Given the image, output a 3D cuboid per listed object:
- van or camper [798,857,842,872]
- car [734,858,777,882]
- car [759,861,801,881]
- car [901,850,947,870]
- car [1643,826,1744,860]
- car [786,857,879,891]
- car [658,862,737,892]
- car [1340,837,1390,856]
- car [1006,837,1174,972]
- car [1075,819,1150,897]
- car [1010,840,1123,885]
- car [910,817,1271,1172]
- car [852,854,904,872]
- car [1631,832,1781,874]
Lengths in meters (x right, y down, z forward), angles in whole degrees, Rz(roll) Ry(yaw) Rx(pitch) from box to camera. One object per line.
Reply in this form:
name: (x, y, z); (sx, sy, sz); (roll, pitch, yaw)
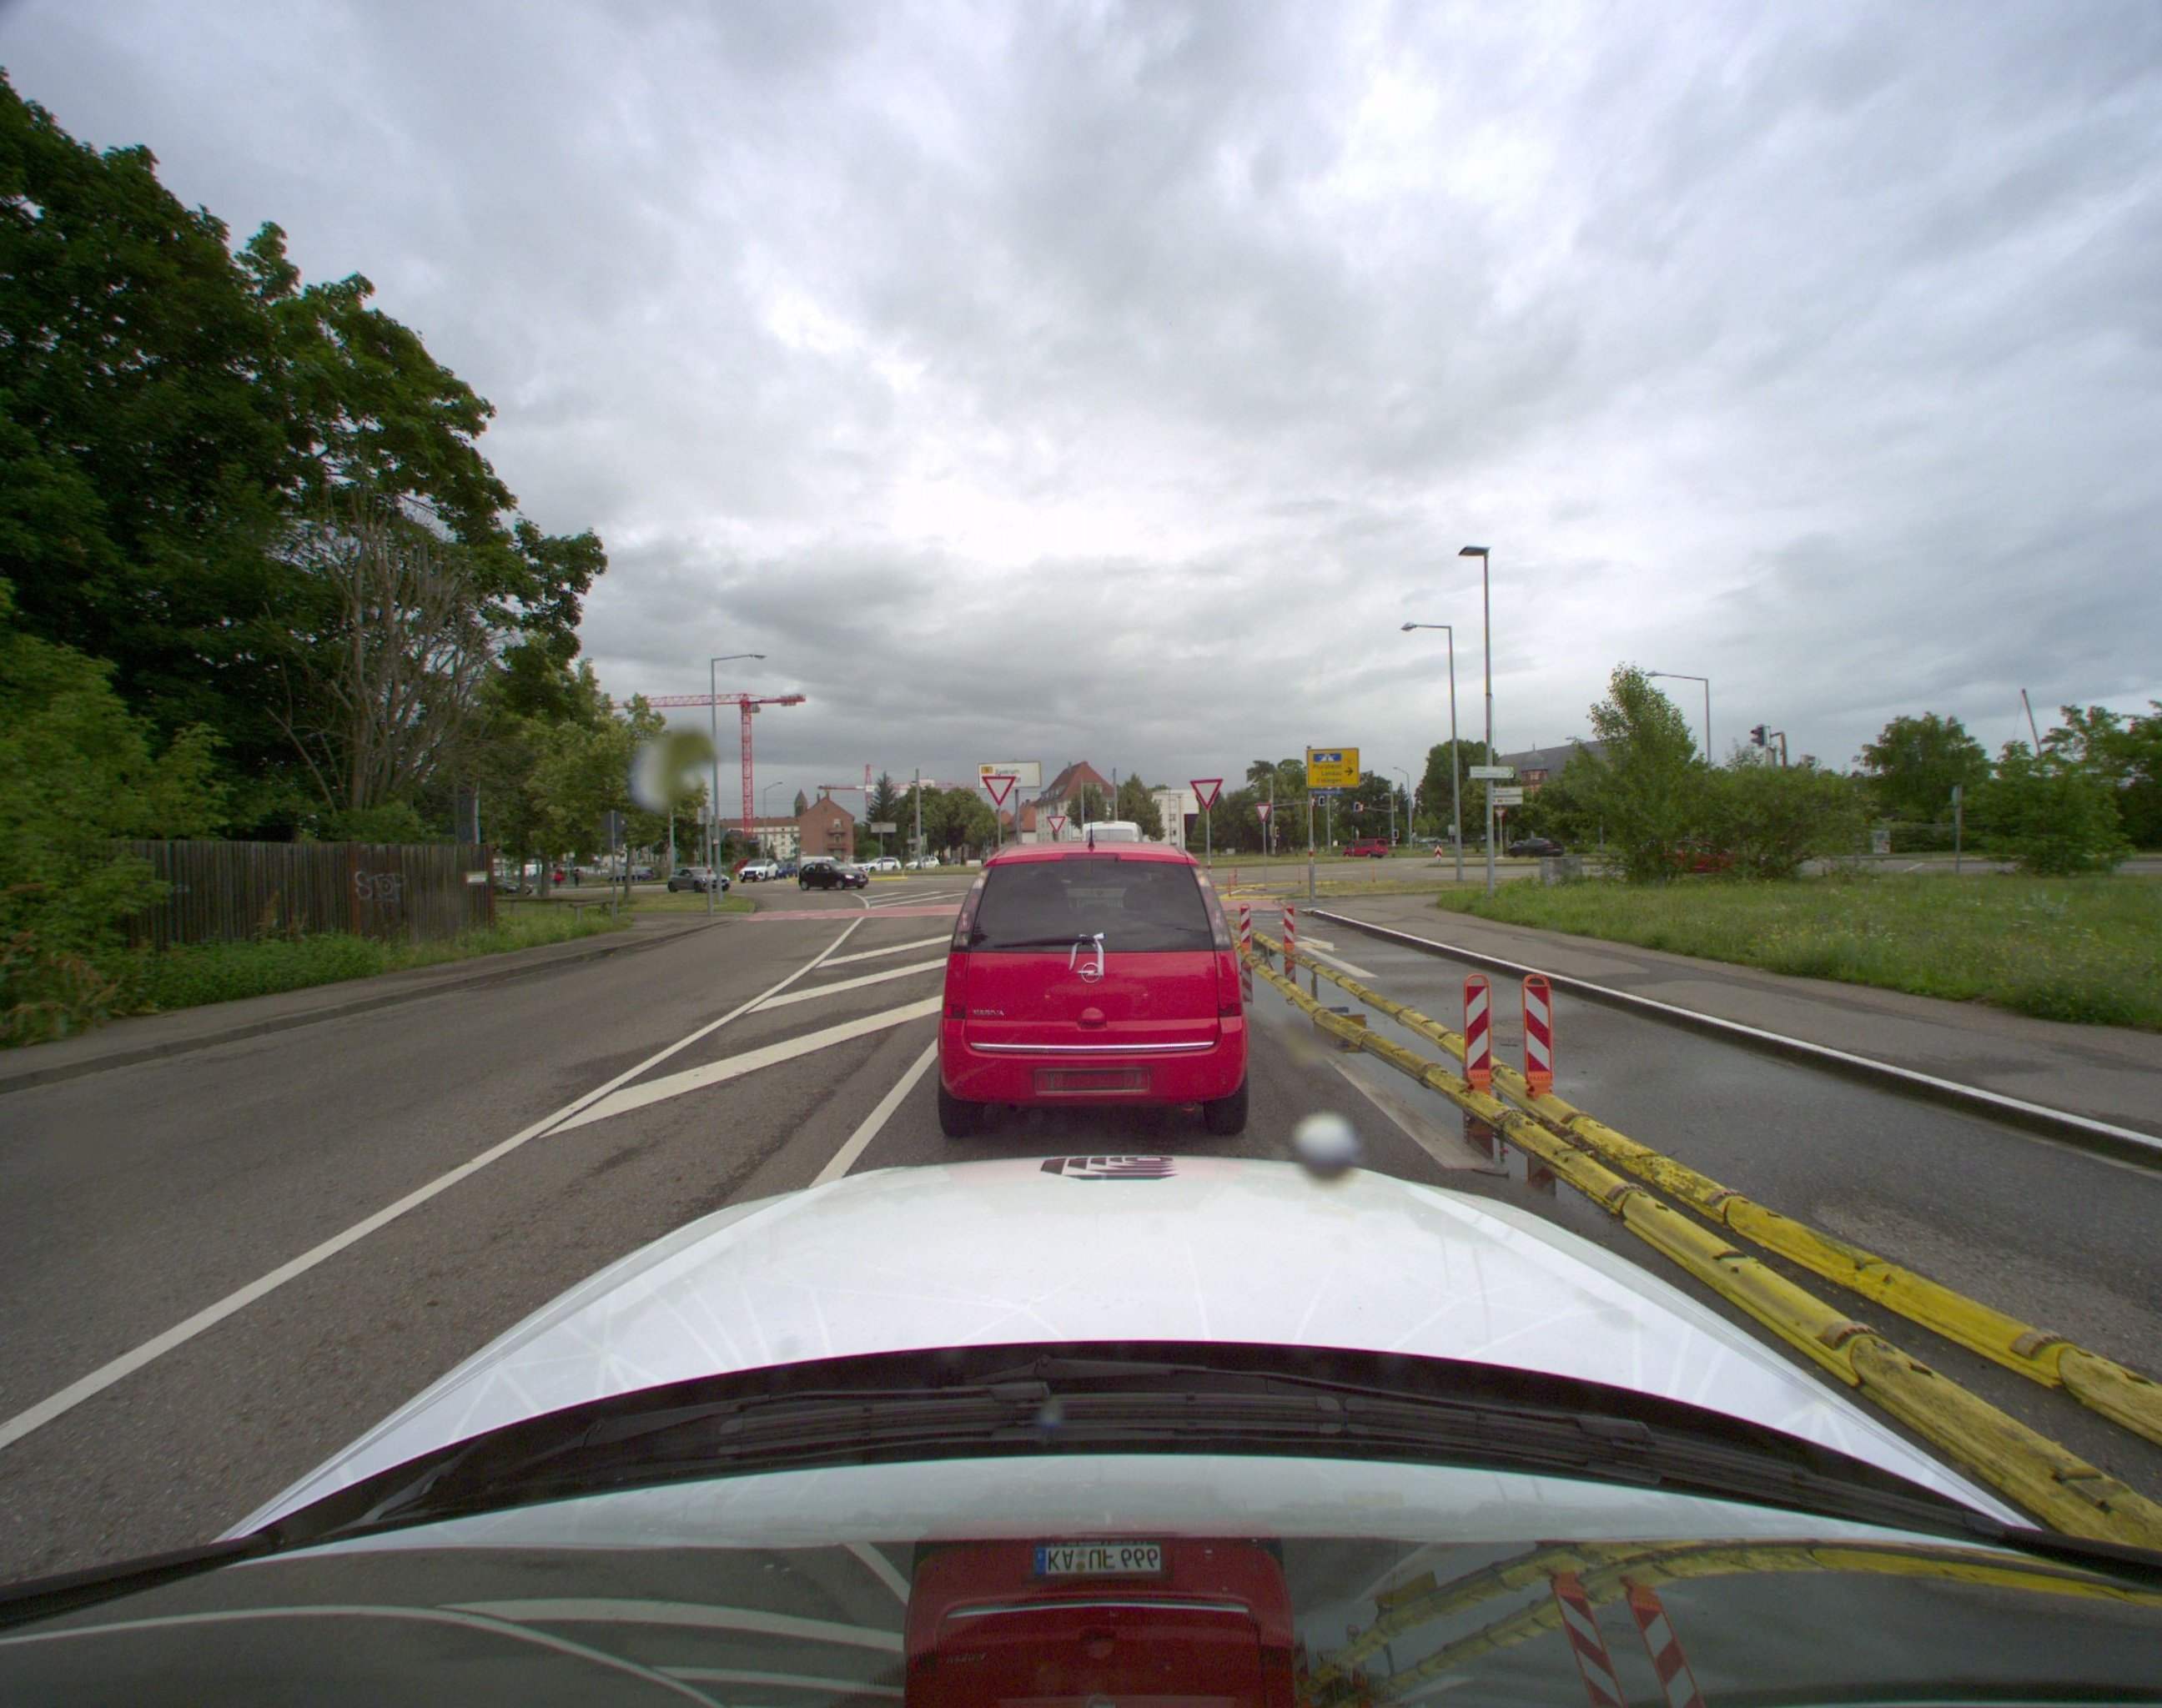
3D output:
van or camper: (-39.418, 1.627, 122.966); (6.135, 2.013, 2.007); (-2, 0, 12)
car: (-24.630, 1.150, 61.780); (1.928, 1.684, 4.180); (-2, 0, -6)
car: (-25.234, 1.385, 68.422); (1.923, 1.489, 4.002); (-2, 0, 2)
car: (-16.475, 0.600, 85.789); (1.974, 2.013, 4.509); (-2, 0, 37)
car: (39.524, -0.664, 52.609); (2.011, 2.013, 4.881); (-2, 0, -42)
car: (-12.892, 1.024, 42.235); (4.383, 1.602, 2.112); (-2, 0, 29)
car: (-22.122, 1.319, 46.908); (4.383, 1.602, 2.112); (-2, 0, 34)
car: (30.241, -0.799, 86.861); (2.121, 1.917, 4.846); (-2, 0, -27)
car: (0.184, 0.612, 12.311); (2.052, 1.648, 4.609); (-1, 0, 2)
car: (1.223, 0.136, 29.059); (2.183, 2.540, 4.973); (-1, 0, 7)
car: (-0.640, 0.389, 37.927); (4.798, 1.900, 2.107); (-2, 0, 13)
car: (0.098, 0.649, 5.608); (1.667, 1.640, 3.629); (-1, 0, 2)
car: (-20.207, 0.873, 81.229); (1.974, 1.635, 4.705); (-2, 0, 39)
car: (24.568, -0.039, 32.216); (4.306, 1.464, 2.010); (-2, 0, 20)
